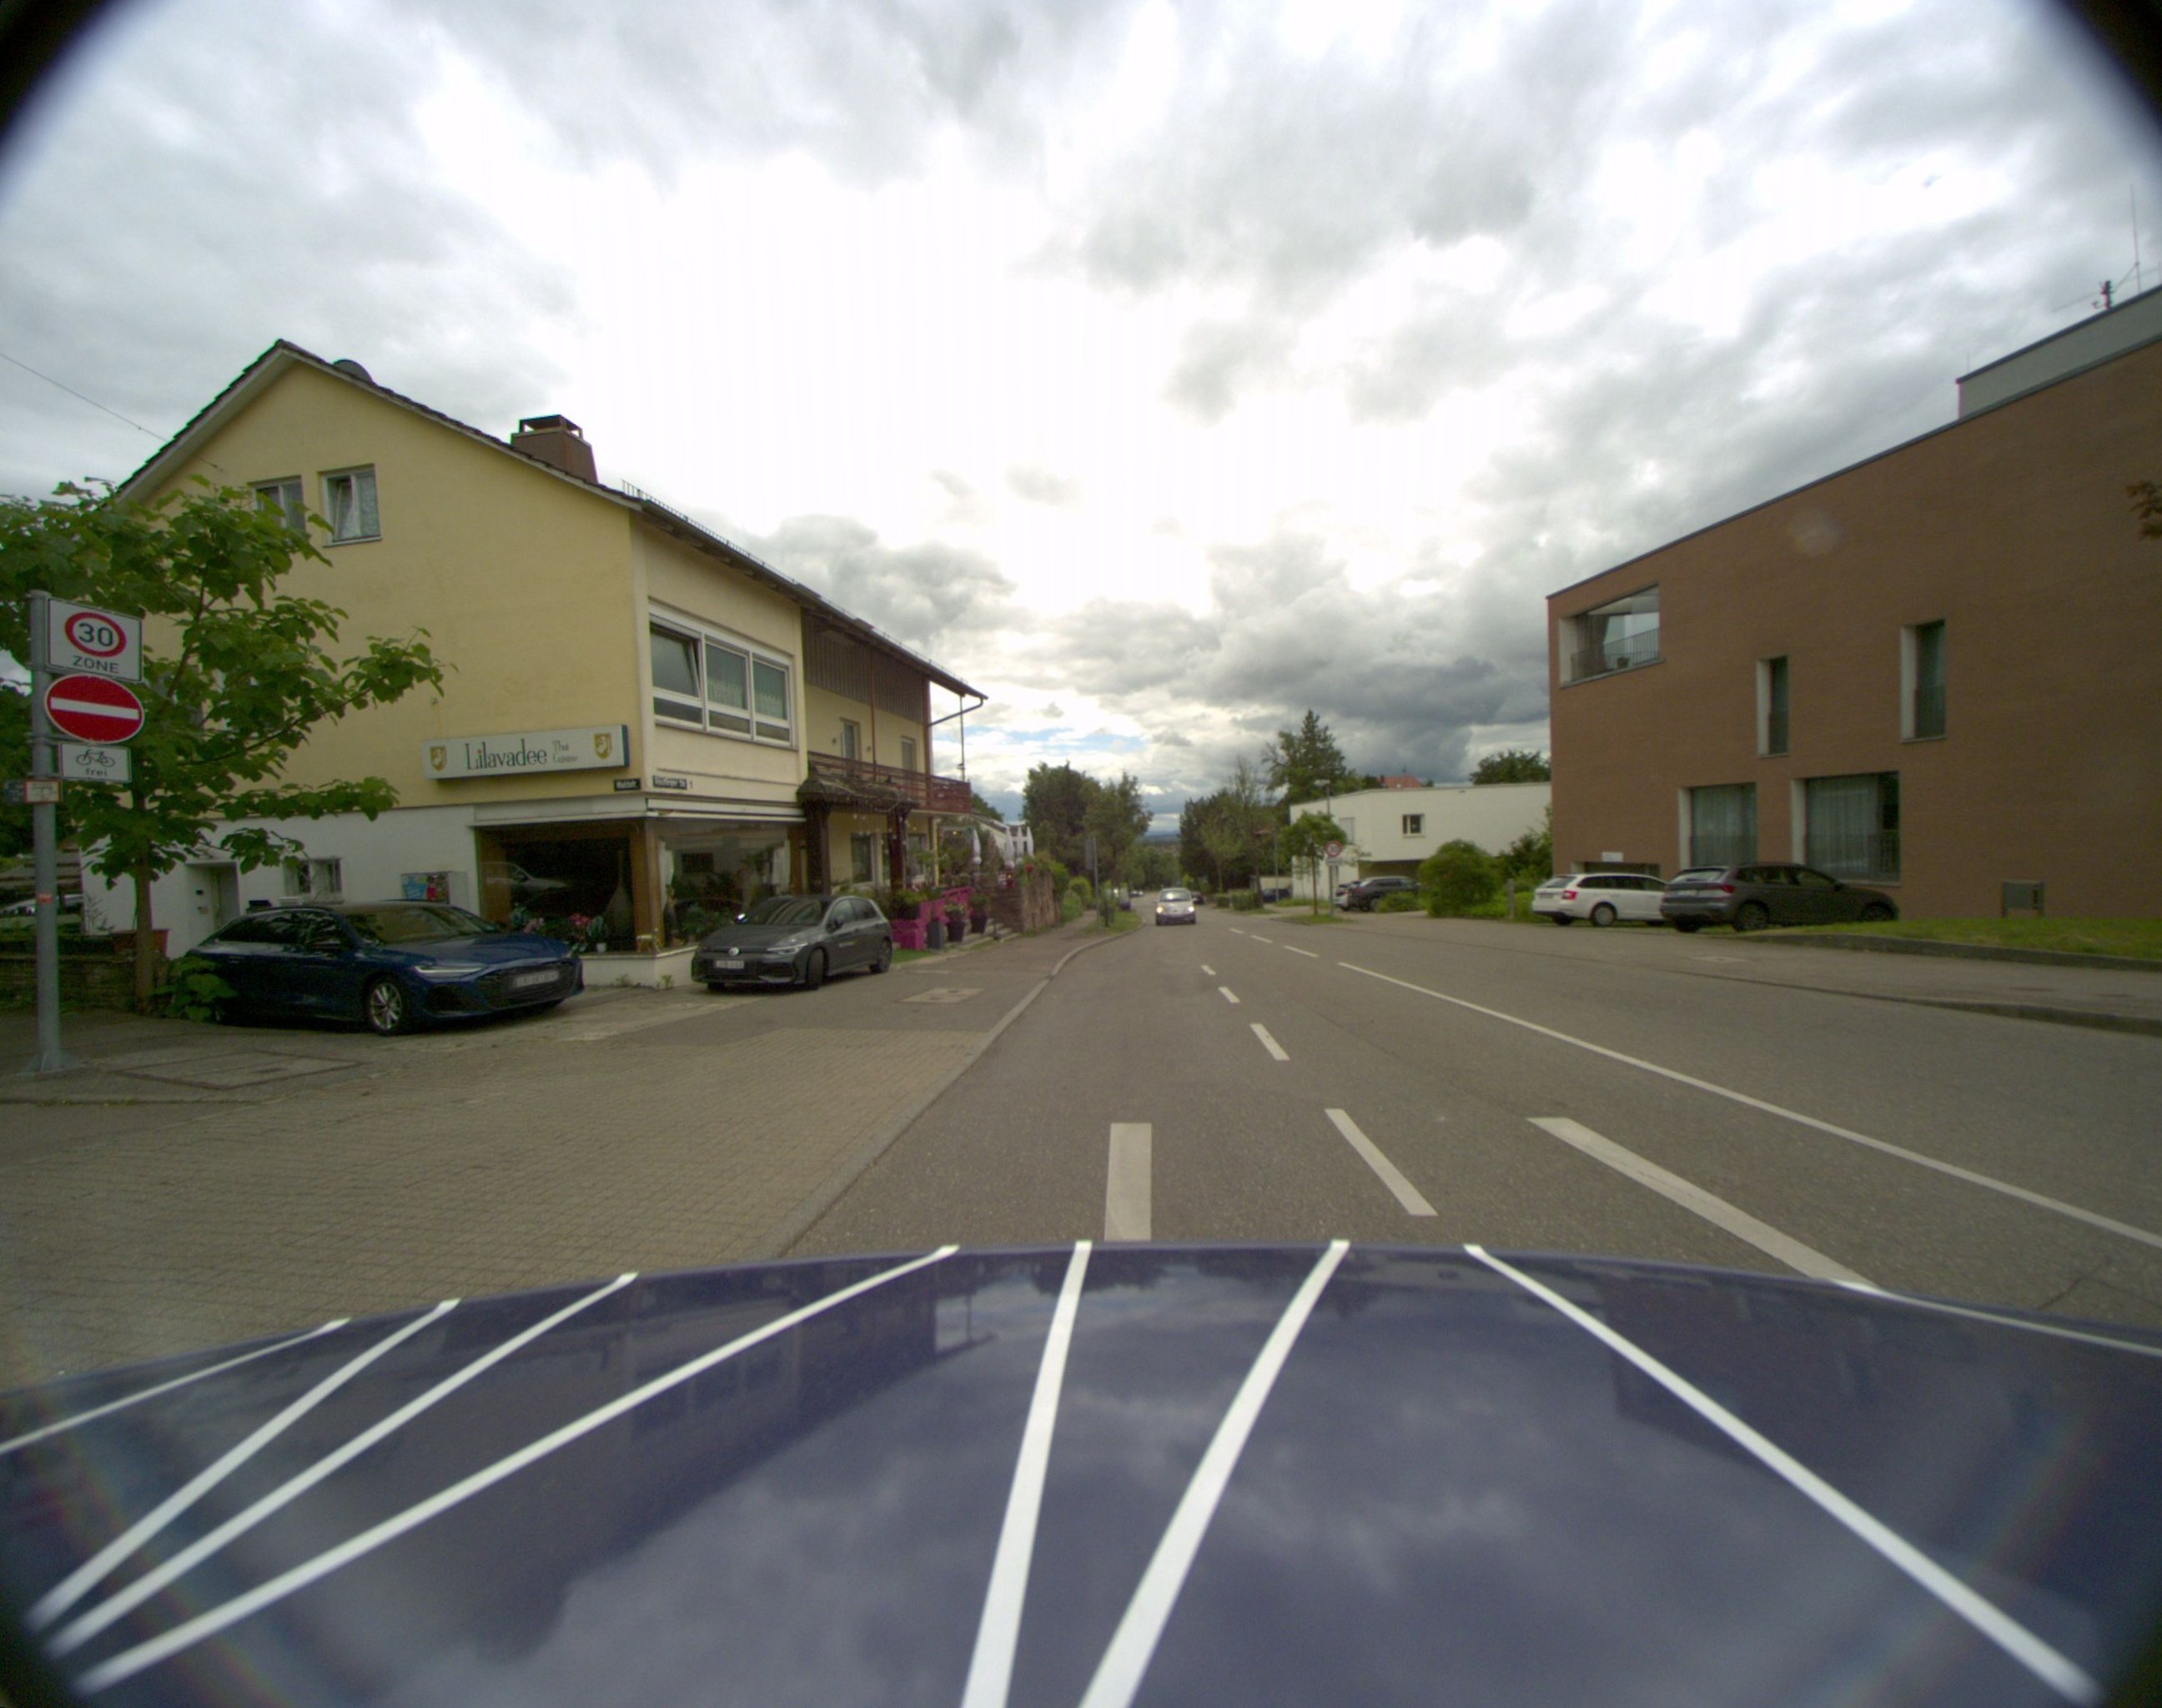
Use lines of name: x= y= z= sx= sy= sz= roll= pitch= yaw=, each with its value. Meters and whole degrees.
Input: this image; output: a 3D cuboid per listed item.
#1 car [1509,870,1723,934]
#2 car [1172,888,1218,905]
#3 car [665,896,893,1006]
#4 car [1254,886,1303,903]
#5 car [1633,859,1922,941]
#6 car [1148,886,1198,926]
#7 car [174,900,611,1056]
car: x=14.473 y=1.263 z=20.733 sx=4.434 sy=1.548 sz=2.000 roll=-1 pitch=-1 yaw=-1
car: x=11.681 y=4.333 z=78.064 sx=4.434 sy=1.548 sz=2.000 roll=-2 pitch=-1 yaw=-1
car: x=-4.695 y=1.460 z=12.503 sx=1.873 sy=1.483 sz=3.887 roll=-2 pitch=-3 yaw=6
car: x=20.022 y=4.111 z=77.096 sx=4.434 sy=1.548 sz=2.000 roll=-1 pitch=-1 yaw=-1
car: x=14.882 y=0.956 z=16.431 sx=4.434 sy=1.548 sz=2.000 roll=-1 pitch=-1 yaw=-1
car: x=4.119 y=2.307 z=33.888 sx=1.997 sy=1.585 sz=4.005 roll=-3 pitch=-3 yaw=7
car: x=-8.195 y=1.369 z=9.164 sx=4.220 sy=1.519 sz=1.935 roll=-2 pitch=-2 yaw=16
